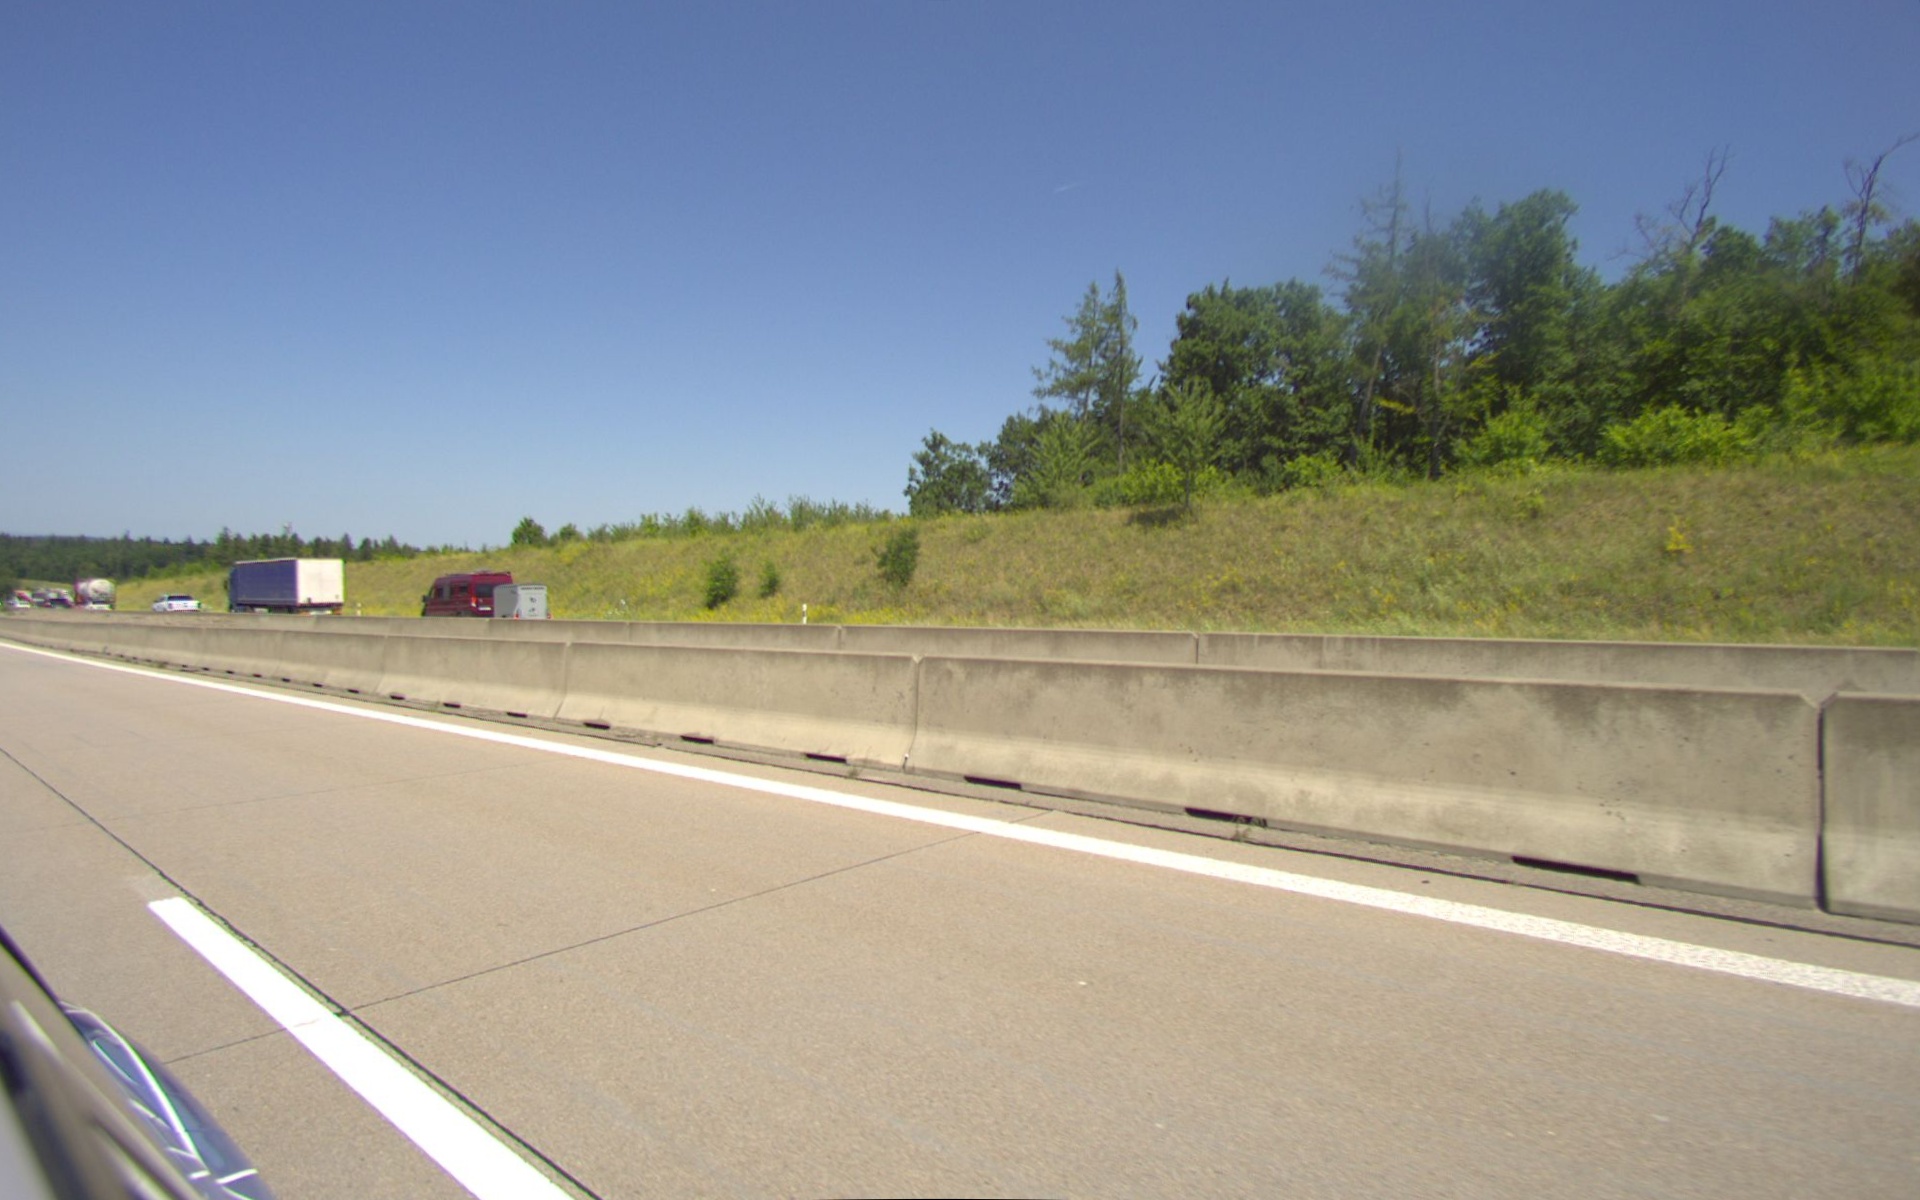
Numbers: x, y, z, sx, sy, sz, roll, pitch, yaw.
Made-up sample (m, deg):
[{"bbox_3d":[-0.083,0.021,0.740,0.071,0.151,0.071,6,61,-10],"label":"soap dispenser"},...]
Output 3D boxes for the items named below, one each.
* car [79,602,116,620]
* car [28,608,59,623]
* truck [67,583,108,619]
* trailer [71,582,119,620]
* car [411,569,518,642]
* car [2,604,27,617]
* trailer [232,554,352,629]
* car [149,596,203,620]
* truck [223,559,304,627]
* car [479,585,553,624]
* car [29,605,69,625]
[{"bbox_3d":[-79.041,1.026,92.747,4.528,1.595,1.972,0,-1,42],"label":"car"},{"bbox_3d":[-99.264,1.615,109.587,4.429,1.595,1.972,0,-1,42],"label":"car"},{"bbox_3d":[-102.680,0.143,119.049,5.980,4.200,2.902,0,0,42],"label":"truck"},{"bbox_3d":[-98.892,0.132,115.672,9.331,4.200,2.902,0,0,42],"label":"trailer"},{"bbox_3d":[-23.525,0.276,47.899,7.057,3.266,1.973,-1,-1,41],"label":"car"},{"bbox_3d":[-121.657,1.379,130.273,4.178,1.595,1.972,0,-1,42],"label":"car"},{"bbox_3d":[-44.514,-0.474,67.134,13.734,4.538,3.222,0,0,42],"label":"trailer"},{"bbox_3d":[-54.670,0.577,70.550,5.517,1.595,1.972,0,-1,42],"label":"car"},{"bbox_3d":[-48.976,-0.461,71.111,6.572,4.538,3.222,0,0,42],"label":"truck"},{"bbox_3d":[-19.532,0.202,44.485,3.575,1.613,1.597,0,-2,41],"label":"car"},{"bbox_3d":[-73.938,1.207,82.123,4.401,1.595,1.972,0,-1,42],"label":"car"}]
